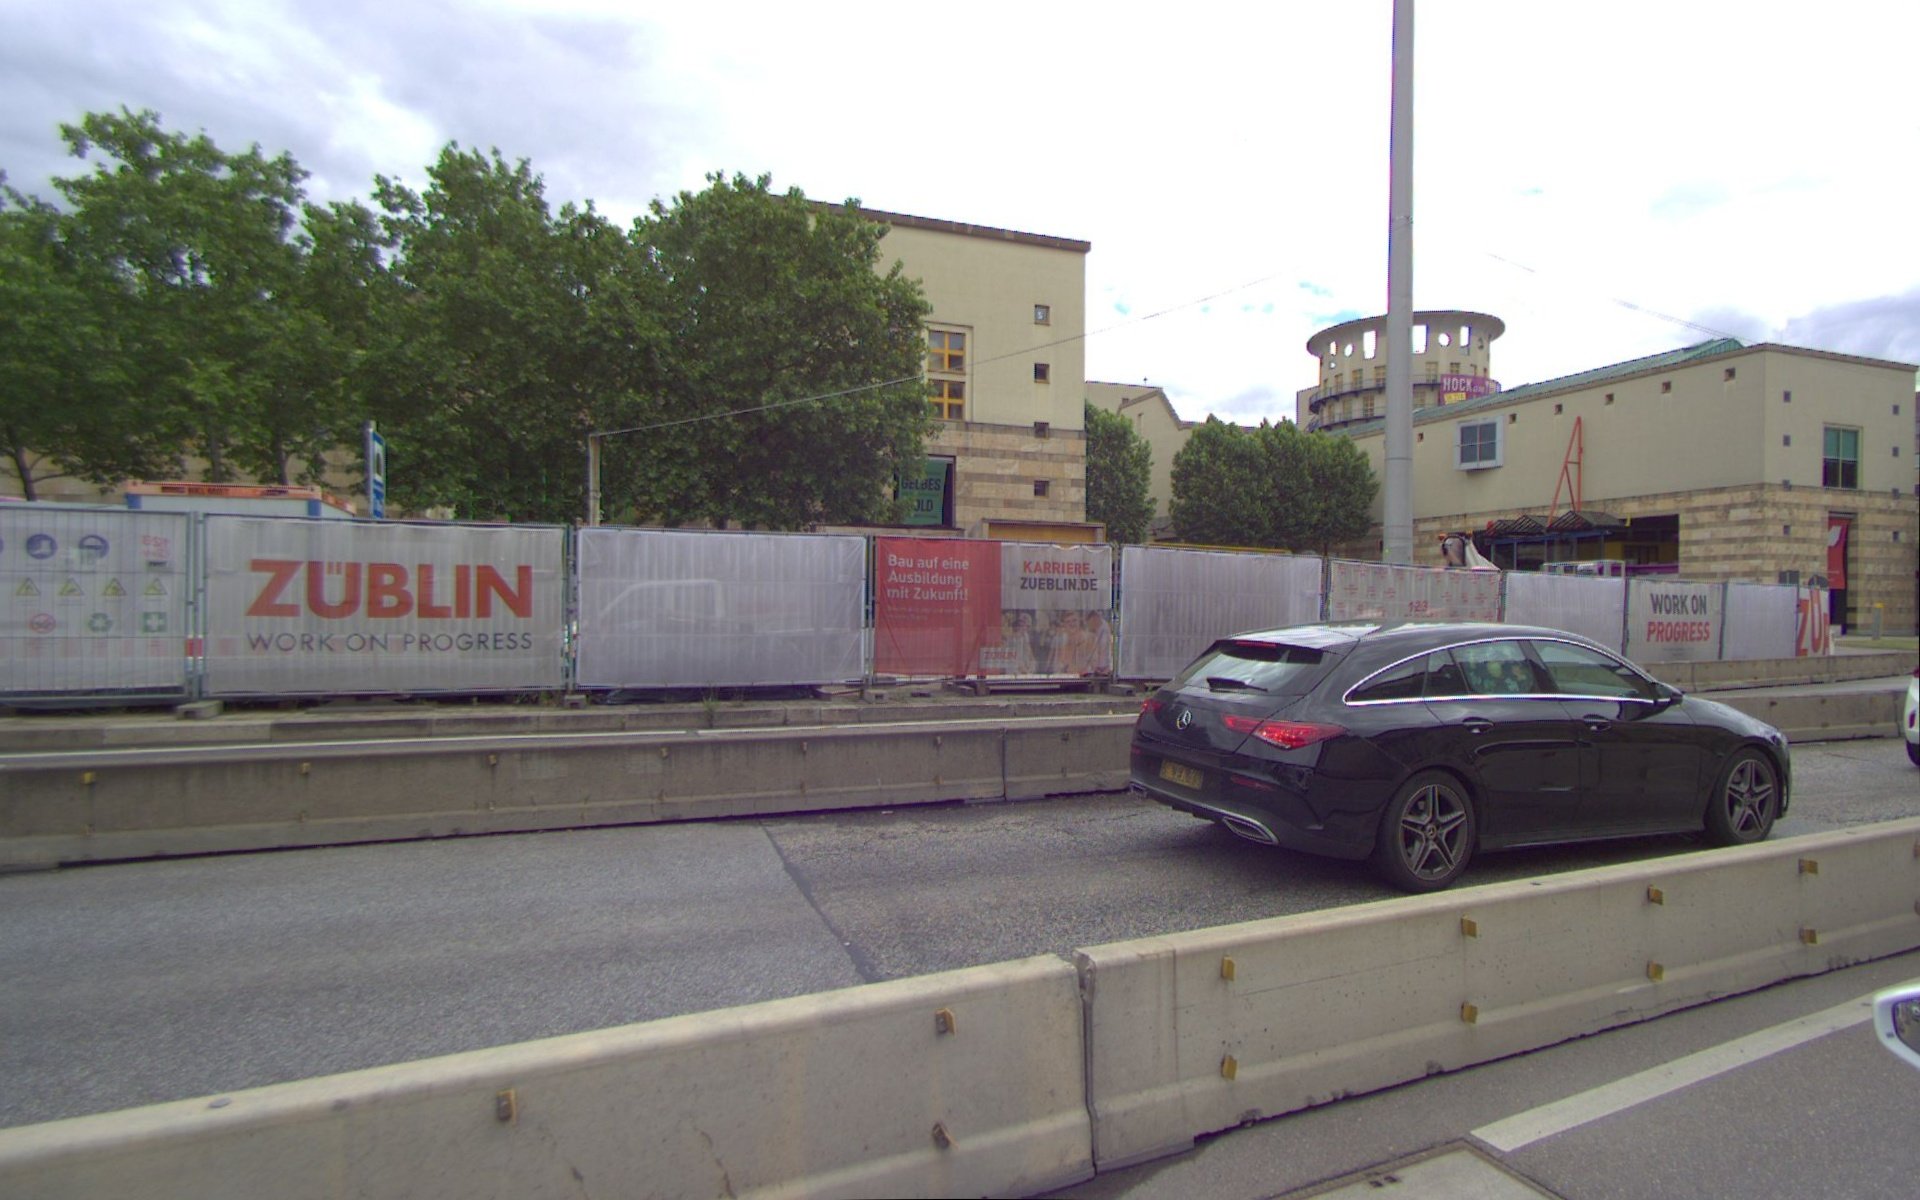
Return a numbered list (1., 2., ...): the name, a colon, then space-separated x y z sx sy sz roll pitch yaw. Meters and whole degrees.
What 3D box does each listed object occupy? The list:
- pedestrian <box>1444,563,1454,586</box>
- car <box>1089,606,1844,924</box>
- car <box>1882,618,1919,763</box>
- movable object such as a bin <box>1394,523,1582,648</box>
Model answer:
1. pedestrian: 43.890 -2.291 90.203 0.592 2.041 0.410 1 2 -21
2. car: 3.255 0.812 6.442 4.500 1.434 1.850 1 1 -23
3. car: 10.807 0.889 9.515 3.882 1.313 1.721 1 1 -26
4. movable object such as a bin: 10.092 -0.250 19.195 3.248 2.214 1.517 1 0 -25
